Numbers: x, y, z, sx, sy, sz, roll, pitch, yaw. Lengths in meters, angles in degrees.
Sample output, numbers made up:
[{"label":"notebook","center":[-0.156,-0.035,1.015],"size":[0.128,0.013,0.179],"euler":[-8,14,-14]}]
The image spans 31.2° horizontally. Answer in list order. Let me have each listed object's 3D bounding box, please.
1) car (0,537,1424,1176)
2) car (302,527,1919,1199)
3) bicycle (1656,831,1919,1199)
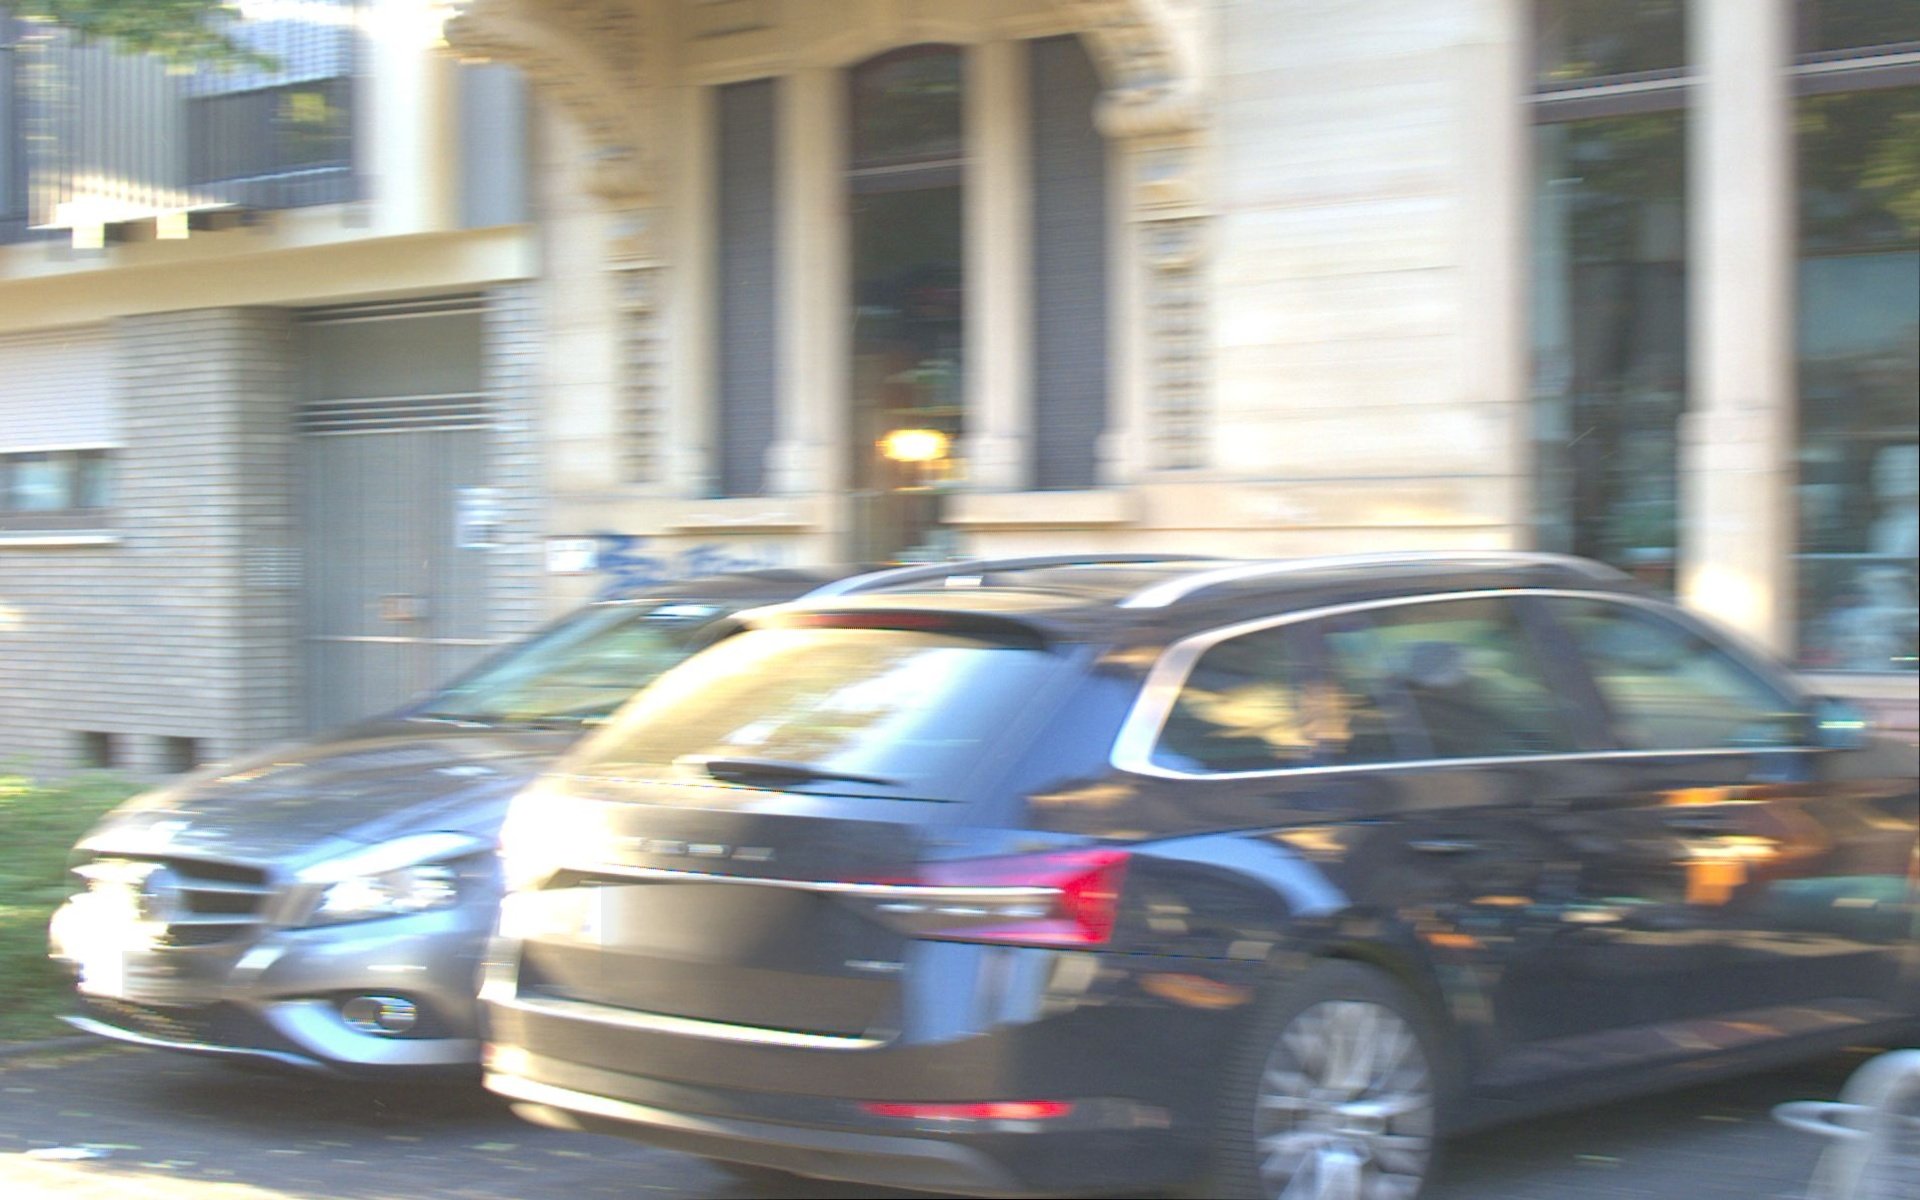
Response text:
[{"label":"car","center":[-0.682,0.583,10.563],"size":[1.866,1.474,4.530],"euler":[0,2,44]},{"label":"car","center":[0.843,0.607,8.401],"size":[1.910,1.506,4.530],"euler":[0,2,44]},{"label":"bicycle","center":[1.975,0.946,5.151],"size":[0.570,1.043,1.831],"euler":[-1,2,-44]}]
